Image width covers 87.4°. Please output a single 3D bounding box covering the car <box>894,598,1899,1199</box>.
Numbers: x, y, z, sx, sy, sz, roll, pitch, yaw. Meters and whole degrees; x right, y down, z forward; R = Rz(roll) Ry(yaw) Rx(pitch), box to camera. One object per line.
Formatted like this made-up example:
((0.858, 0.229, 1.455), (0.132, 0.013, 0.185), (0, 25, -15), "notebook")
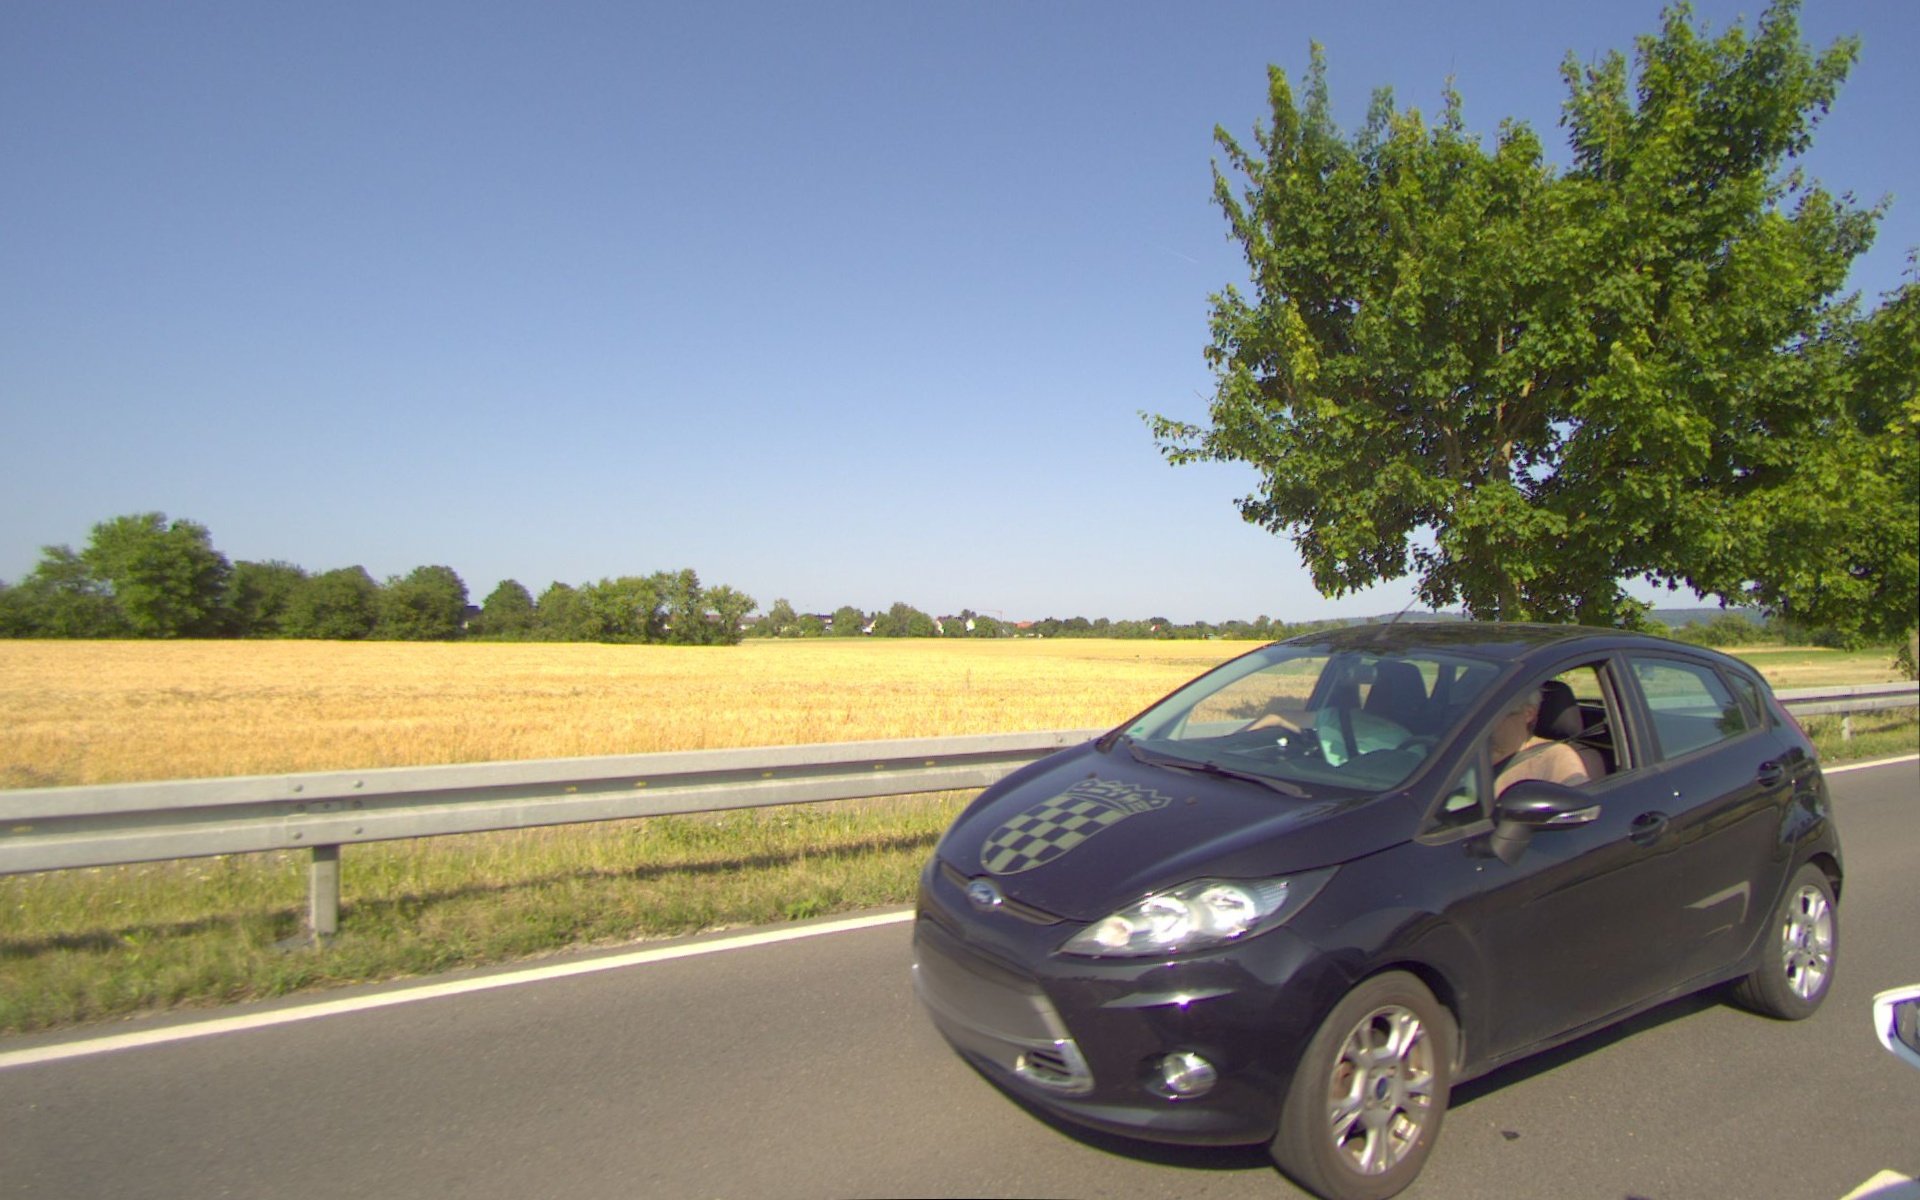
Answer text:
((1.797, 0.779, 3.846), (3.762, 1.491, 1.636), (1, -1, -31), "car")
